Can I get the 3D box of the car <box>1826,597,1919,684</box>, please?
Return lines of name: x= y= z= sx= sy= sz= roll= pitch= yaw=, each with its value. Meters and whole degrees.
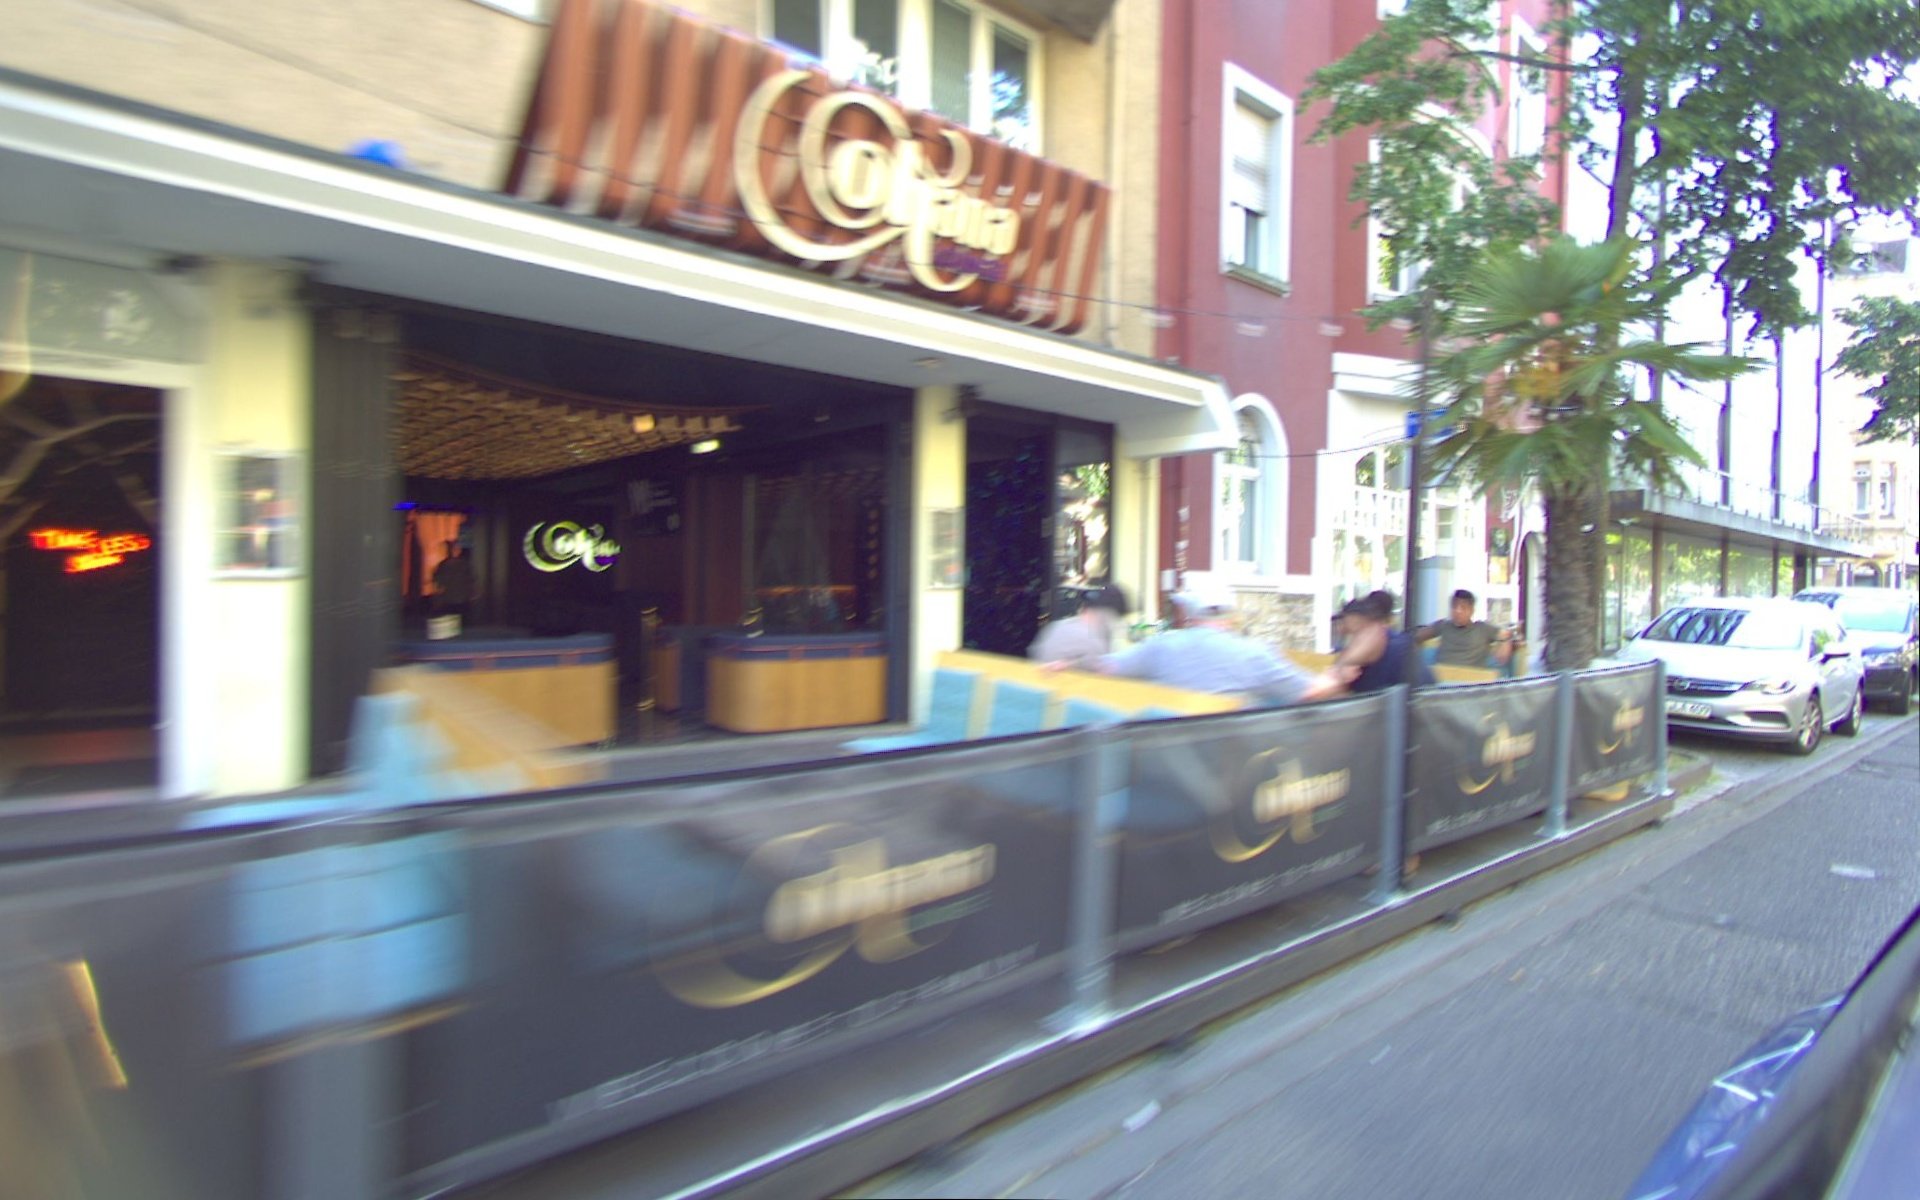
car: x=18.411 y=0.742 z=19.457 sx=4.755 sy=1.419 sz=1.827 roll=0 pitch=4 yaw=-40

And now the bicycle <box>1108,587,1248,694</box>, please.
bicycle: x=2.284 y=0.392 z=10.485 sx=1.671 sy=1.014 sz=0.475 roll=0 pitch=2 yaw=-41

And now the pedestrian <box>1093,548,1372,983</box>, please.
pedestrian: x=1.133 y=0.581 z=4.181 sx=0.963 sy=1.555 sz=0.651 roll=0 pitch=2 yaw=-42

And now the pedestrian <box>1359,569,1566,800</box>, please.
pedestrian: x=3.750 y=0.567 z=7.589 sx=0.875 sy=1.555 sz=1.060 roll=1 pitch=2 yaw=-36

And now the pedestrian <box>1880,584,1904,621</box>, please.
pedestrian: x=43.238 y=0.120 z=46.943 sx=0.701 sy=1.713 sz=0.500 roll=0 pitch=1 yaw=-13

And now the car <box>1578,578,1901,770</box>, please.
car: x=8.843 y=0.657 z=11.310 sx=4.756 sy=1.615 sz=1.827 roll=0 pitch=4 yaw=-40

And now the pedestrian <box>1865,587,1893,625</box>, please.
pedestrian: x=42.252 y=0.266 z=46.537 sx=0.701 sy=1.713 sz=0.621 roll=0 pitch=1 yaw=-13

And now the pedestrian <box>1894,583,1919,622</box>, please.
pedestrian: x=42.383 y=0.104 z=45.207 sx=0.663 sy=1.712 sz=0.619 roll=1 pitch=3 yaw=4

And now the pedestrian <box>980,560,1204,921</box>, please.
pedestrian: x=0.614 y=0.602 z=4.856 sx=0.753 sy=1.555 sz=0.715 roll=1 pitch=1 yaw=-26

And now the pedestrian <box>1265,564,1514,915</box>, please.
pedestrian: x=2.104 y=0.615 z=5.009 sx=0.791 sy=1.555 sz=0.753 roll=1 pitch=1 yaw=-26

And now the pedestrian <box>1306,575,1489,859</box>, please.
pedestrian: x=2.631 y=0.640 z=6.096 sx=0.762 sy=1.555 sz=0.694 roll=1 pitch=2 yaw=-39

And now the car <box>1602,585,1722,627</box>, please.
car: x=32.537 y=0.230 z=47.065 sx=4.274 sy=1.793 sz=1.982 roll=2 pitch=1 yaw=26

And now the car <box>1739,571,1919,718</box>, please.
car: x=13.713 y=0.578 z=15.230 sx=4.838 sy=1.799 sz=1.829 roll=1 pitch=4 yaw=-37
